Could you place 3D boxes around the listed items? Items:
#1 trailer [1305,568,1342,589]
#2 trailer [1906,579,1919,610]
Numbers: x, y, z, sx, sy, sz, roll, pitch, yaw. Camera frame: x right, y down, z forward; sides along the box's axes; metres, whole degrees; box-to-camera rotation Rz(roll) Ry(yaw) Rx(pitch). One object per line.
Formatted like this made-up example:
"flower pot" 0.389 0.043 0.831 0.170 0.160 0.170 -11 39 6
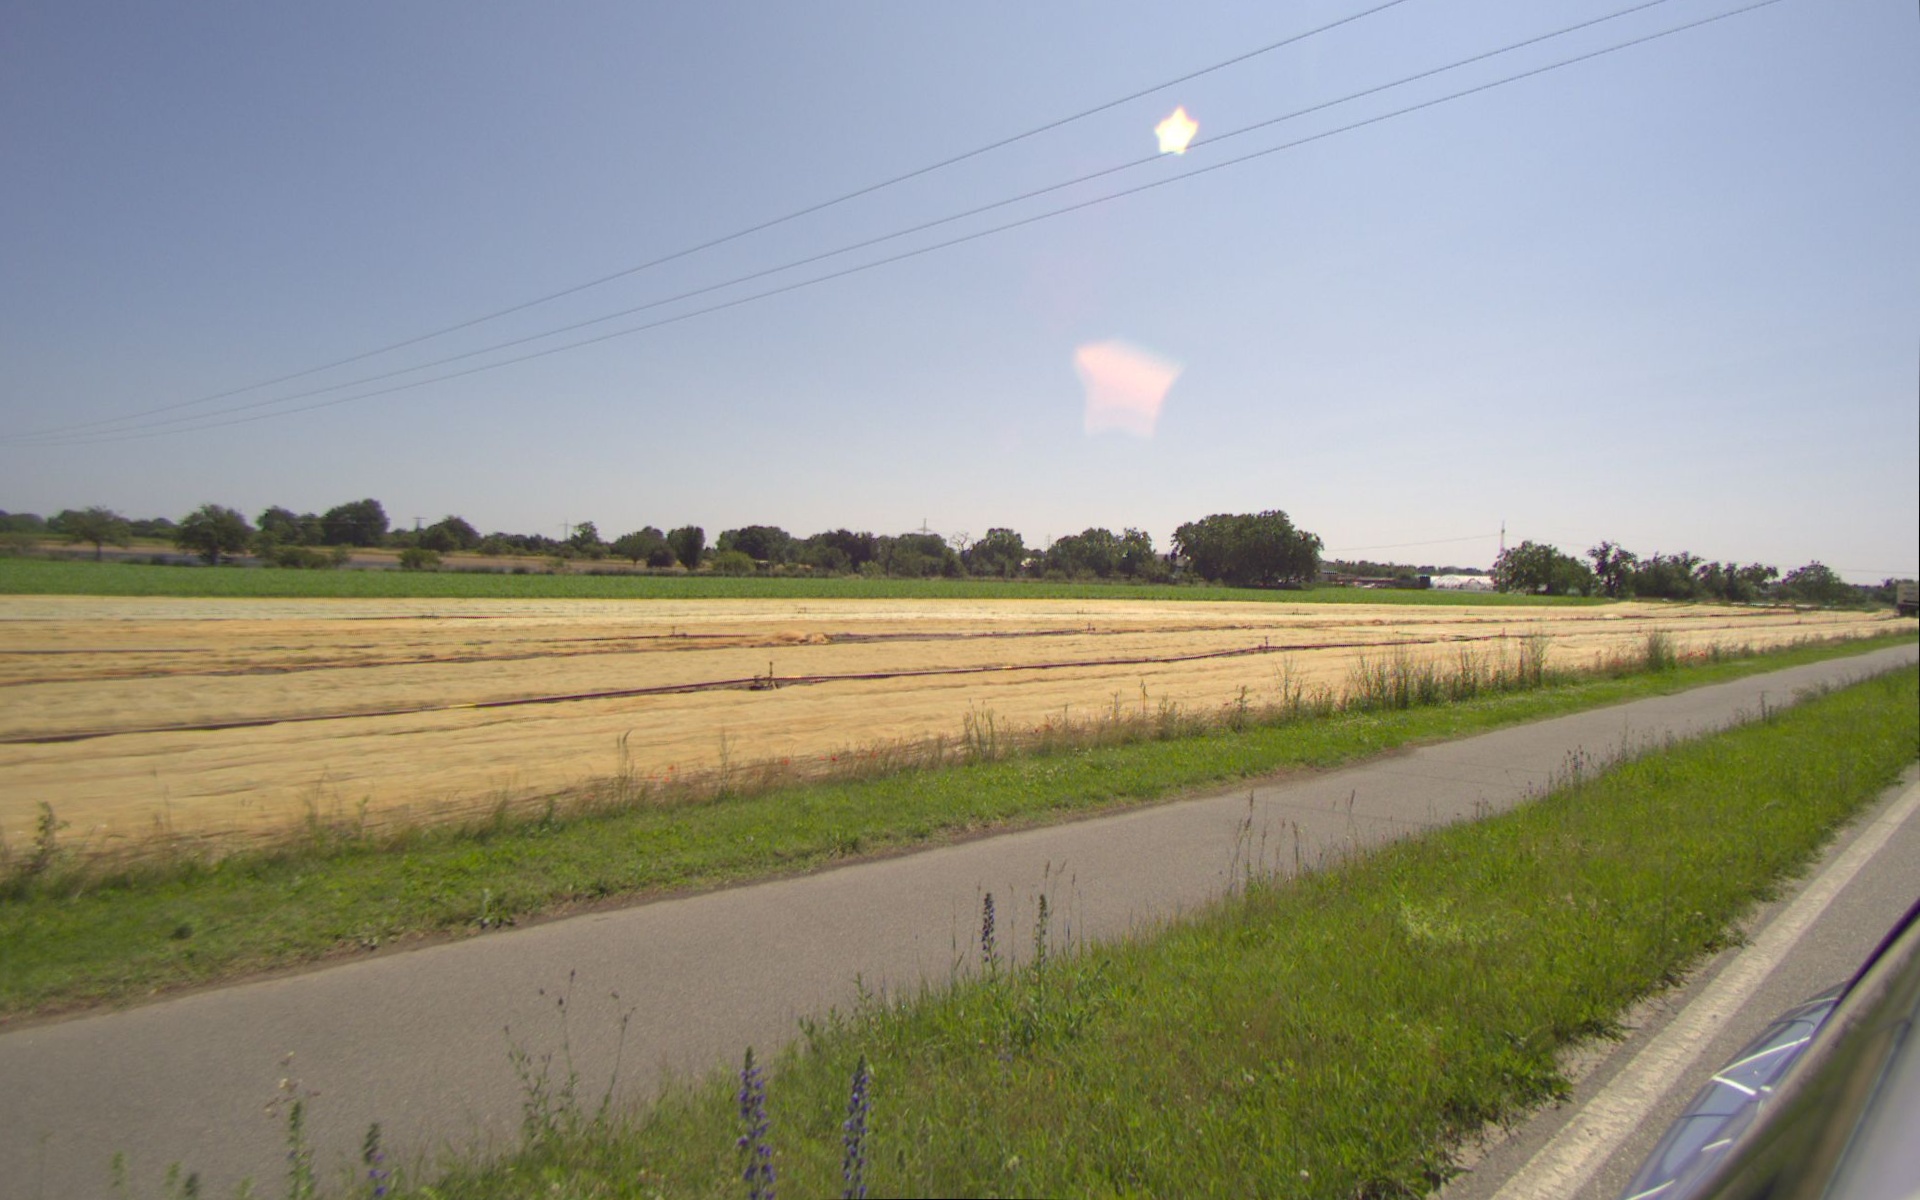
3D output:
"trailer" 78.644 -4.662 219.033 3.093 4.274 7.453 0 1 -28
"trailer" 93.817 -0.444 96.230 1.958 2.988 5.309 -1 3 -20
